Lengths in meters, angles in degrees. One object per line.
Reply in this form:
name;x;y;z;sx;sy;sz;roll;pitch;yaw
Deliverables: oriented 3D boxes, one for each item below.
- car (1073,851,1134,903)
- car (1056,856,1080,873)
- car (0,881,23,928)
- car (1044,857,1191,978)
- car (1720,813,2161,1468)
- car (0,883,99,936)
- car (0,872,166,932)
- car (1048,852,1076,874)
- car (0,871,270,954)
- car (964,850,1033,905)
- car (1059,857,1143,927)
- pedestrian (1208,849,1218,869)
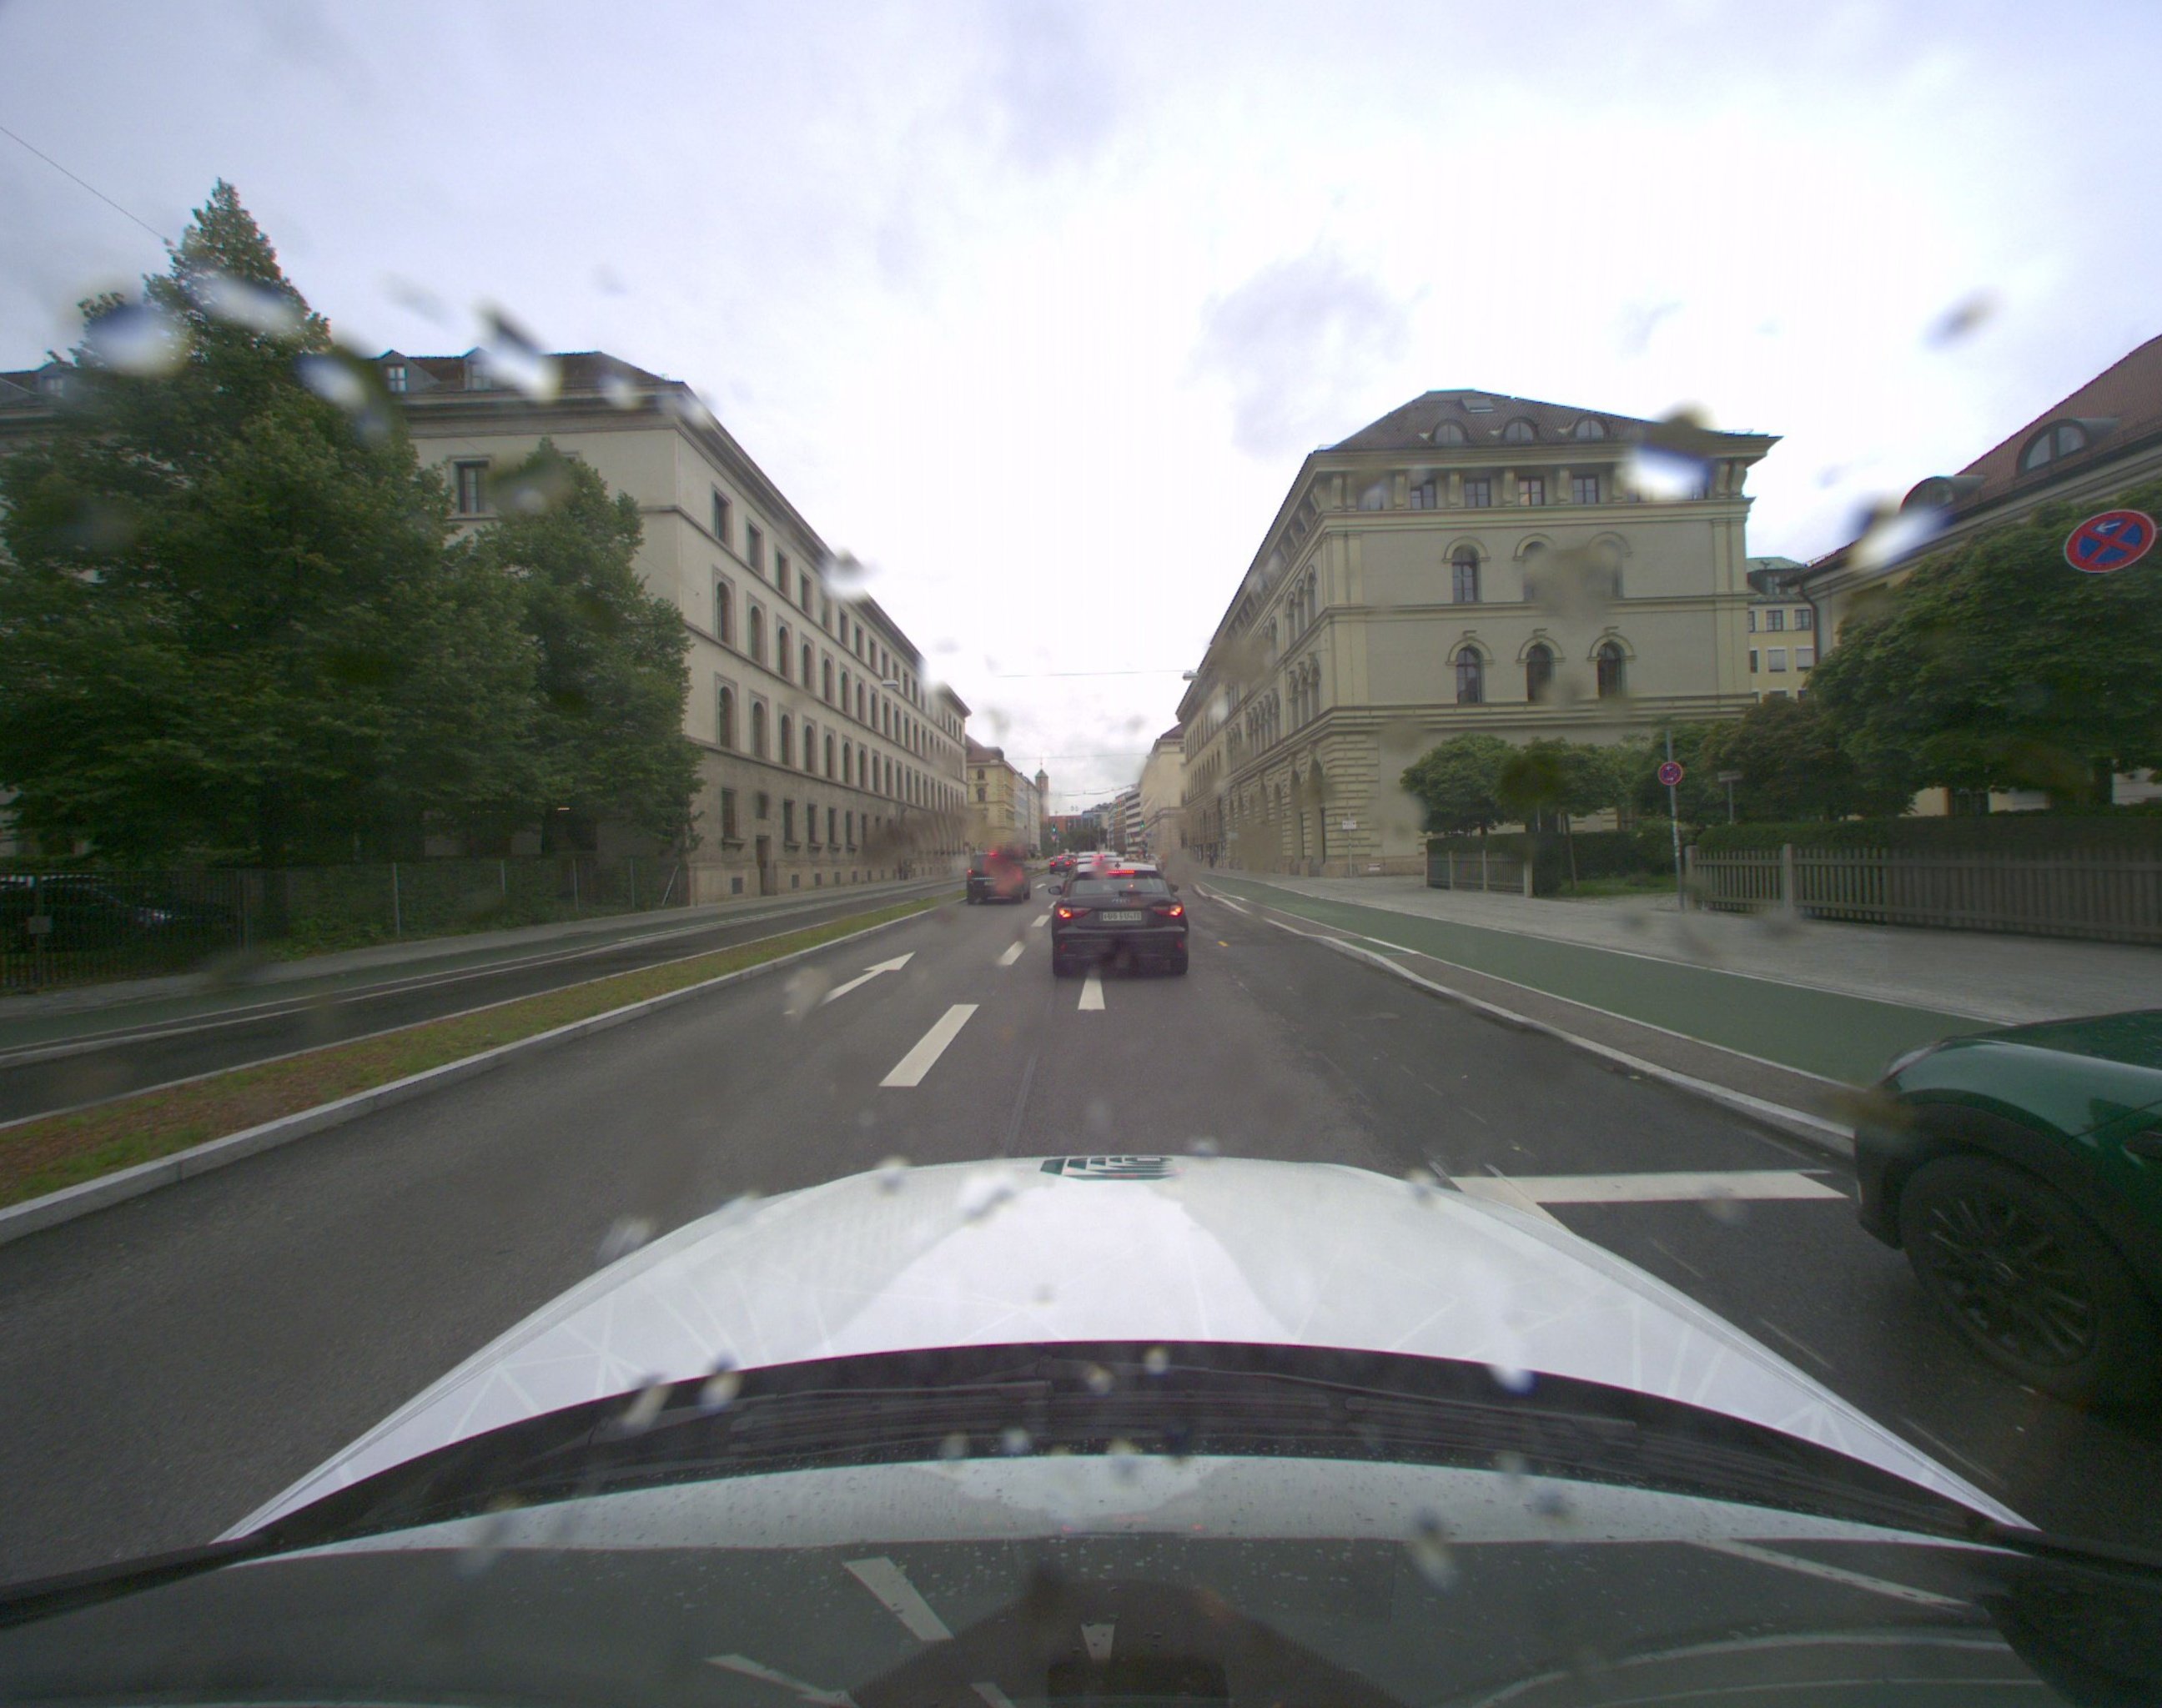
car;0.689;0.641;25.164;1.724;1.461;4.001;0;0;1
car;-1.165;0.912;74.915;1.986;1.444;4.002;-2;0;2
car;-36.639;1.709;25.494;1.764;1.544;4.001;-2;0;1
car;0.482;0.763;11.644;1.724;1.403;4.001;0;0;1
car;3.311;0.657;1.318;1.668;1.521;3.832;-1;0;2
car;-34.166;1.791;25.563;1.764;1.544;4.001;-2;0;1
car;-31.754;1.442;25.483;1.659;1.640;4.001;-1;0;1
car;-1.482;0.700;65.903;1.986;1.627;4.002;-2;0;2
car;-21.783;1.307;18.810;4.247;1.649;1.805;-2;0;1
car;-2.605;0.706;26.573;1.759;1.616;4.030;-1;0;1
car;0.457;0.790;18.760;1.724;1.403;4.001;0;0;1
pedestrian;11.416;0.429;70.245;0.707;1.618;0.754;-2;0;1
